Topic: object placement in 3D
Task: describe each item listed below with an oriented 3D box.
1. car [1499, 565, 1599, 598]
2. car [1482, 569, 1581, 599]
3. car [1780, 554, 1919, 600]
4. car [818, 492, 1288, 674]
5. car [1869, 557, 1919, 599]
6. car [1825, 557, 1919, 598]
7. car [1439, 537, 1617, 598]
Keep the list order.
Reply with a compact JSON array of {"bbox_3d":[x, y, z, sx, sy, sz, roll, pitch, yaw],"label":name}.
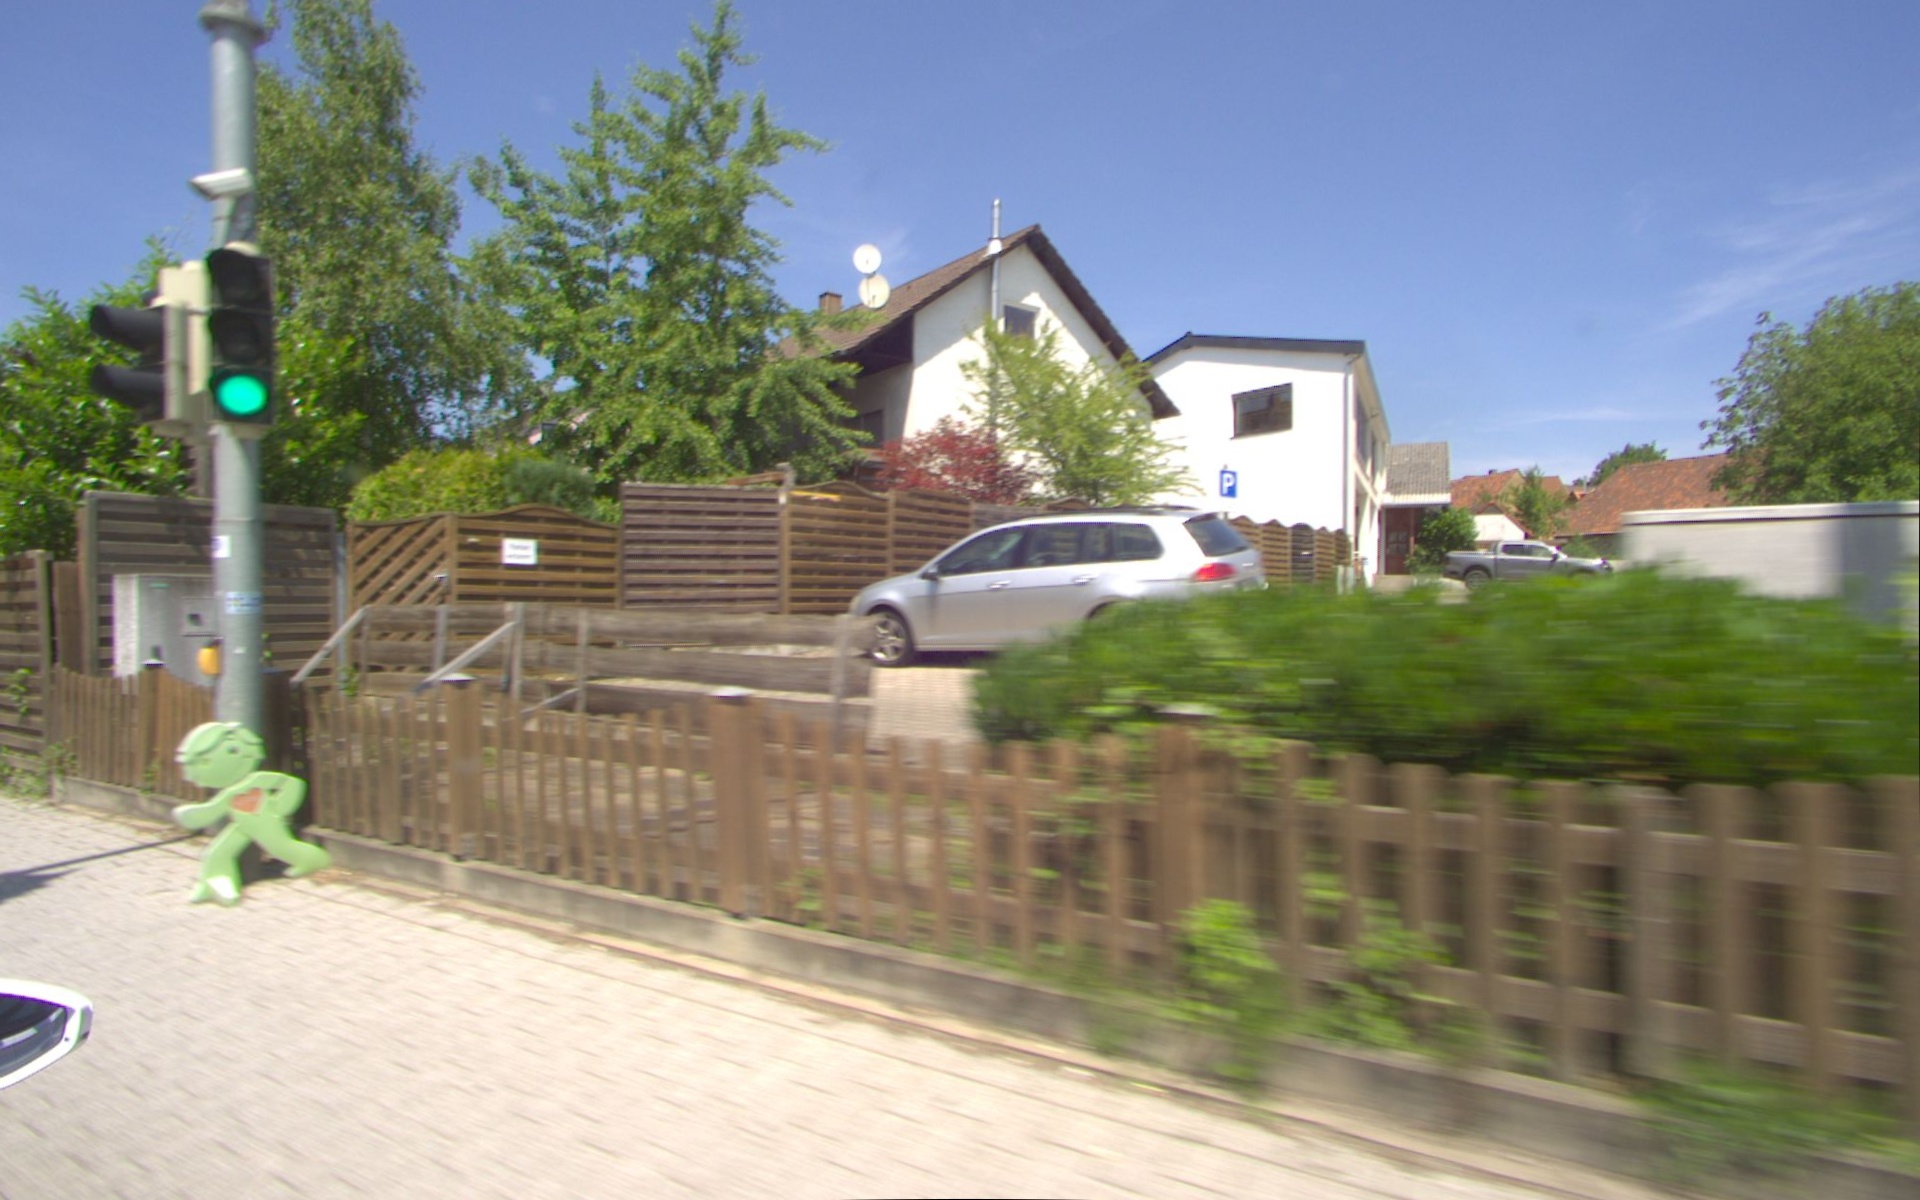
[{"bbox_3d":[28.091,-0.865,47.789,4.031,1.432,1.637,0,-1,33],"label":"car"},{"bbox_3d":[26.198,-0.745,45.936,3.863,1.274,1.597,0,3,33],"label":"car"},{"bbox_3d":[37.357,-0.958,41.992,4.320,1.809,1.825,0,3,31],"label":"car"},{"bbox_3d":[0.833,-0.193,10.126,4.439,1.485,1.624,0,6,33],"label":"car"},{"bbox_3d":[34.666,-0.804,35.002,4.031,1.433,1.635,0,3,33],"label":"car"},{"bbox_3d":[35.280,-0.851,37.570,4.031,1.433,1.635,0,3,33],"label":"car"},{"bbox_3d":[20.067,-1.137,35.529,5.355,1.976,2.130,0,3,33],"label":"car"}]
